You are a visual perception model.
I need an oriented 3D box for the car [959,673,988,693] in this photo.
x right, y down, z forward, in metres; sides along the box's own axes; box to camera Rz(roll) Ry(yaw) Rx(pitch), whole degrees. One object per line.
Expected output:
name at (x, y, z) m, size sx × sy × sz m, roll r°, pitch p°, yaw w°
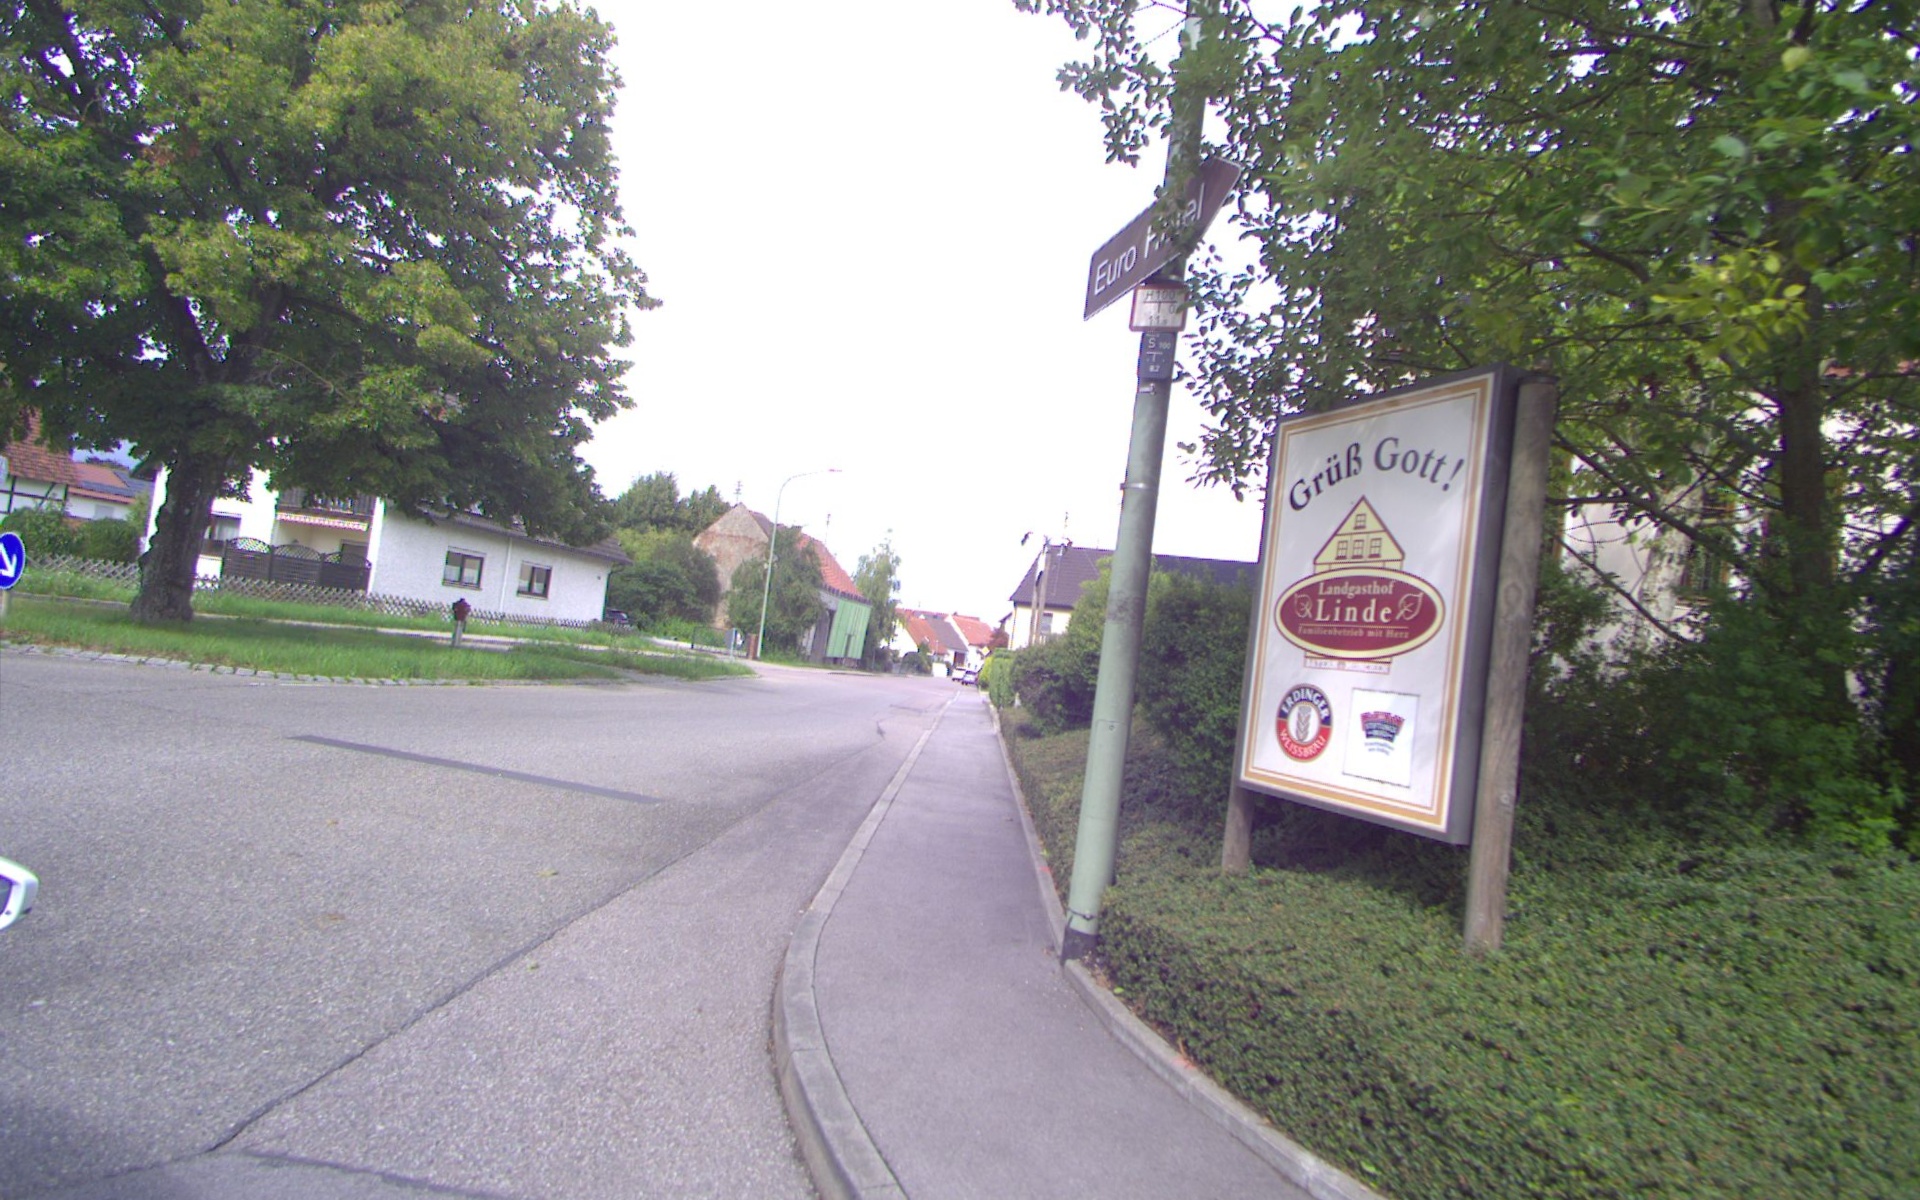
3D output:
car at (1.322, 7.979, 96.263) m, size 1.698 × 1.624 × 4.007 m, roll 7°, pitch -3°, yaw 15°
